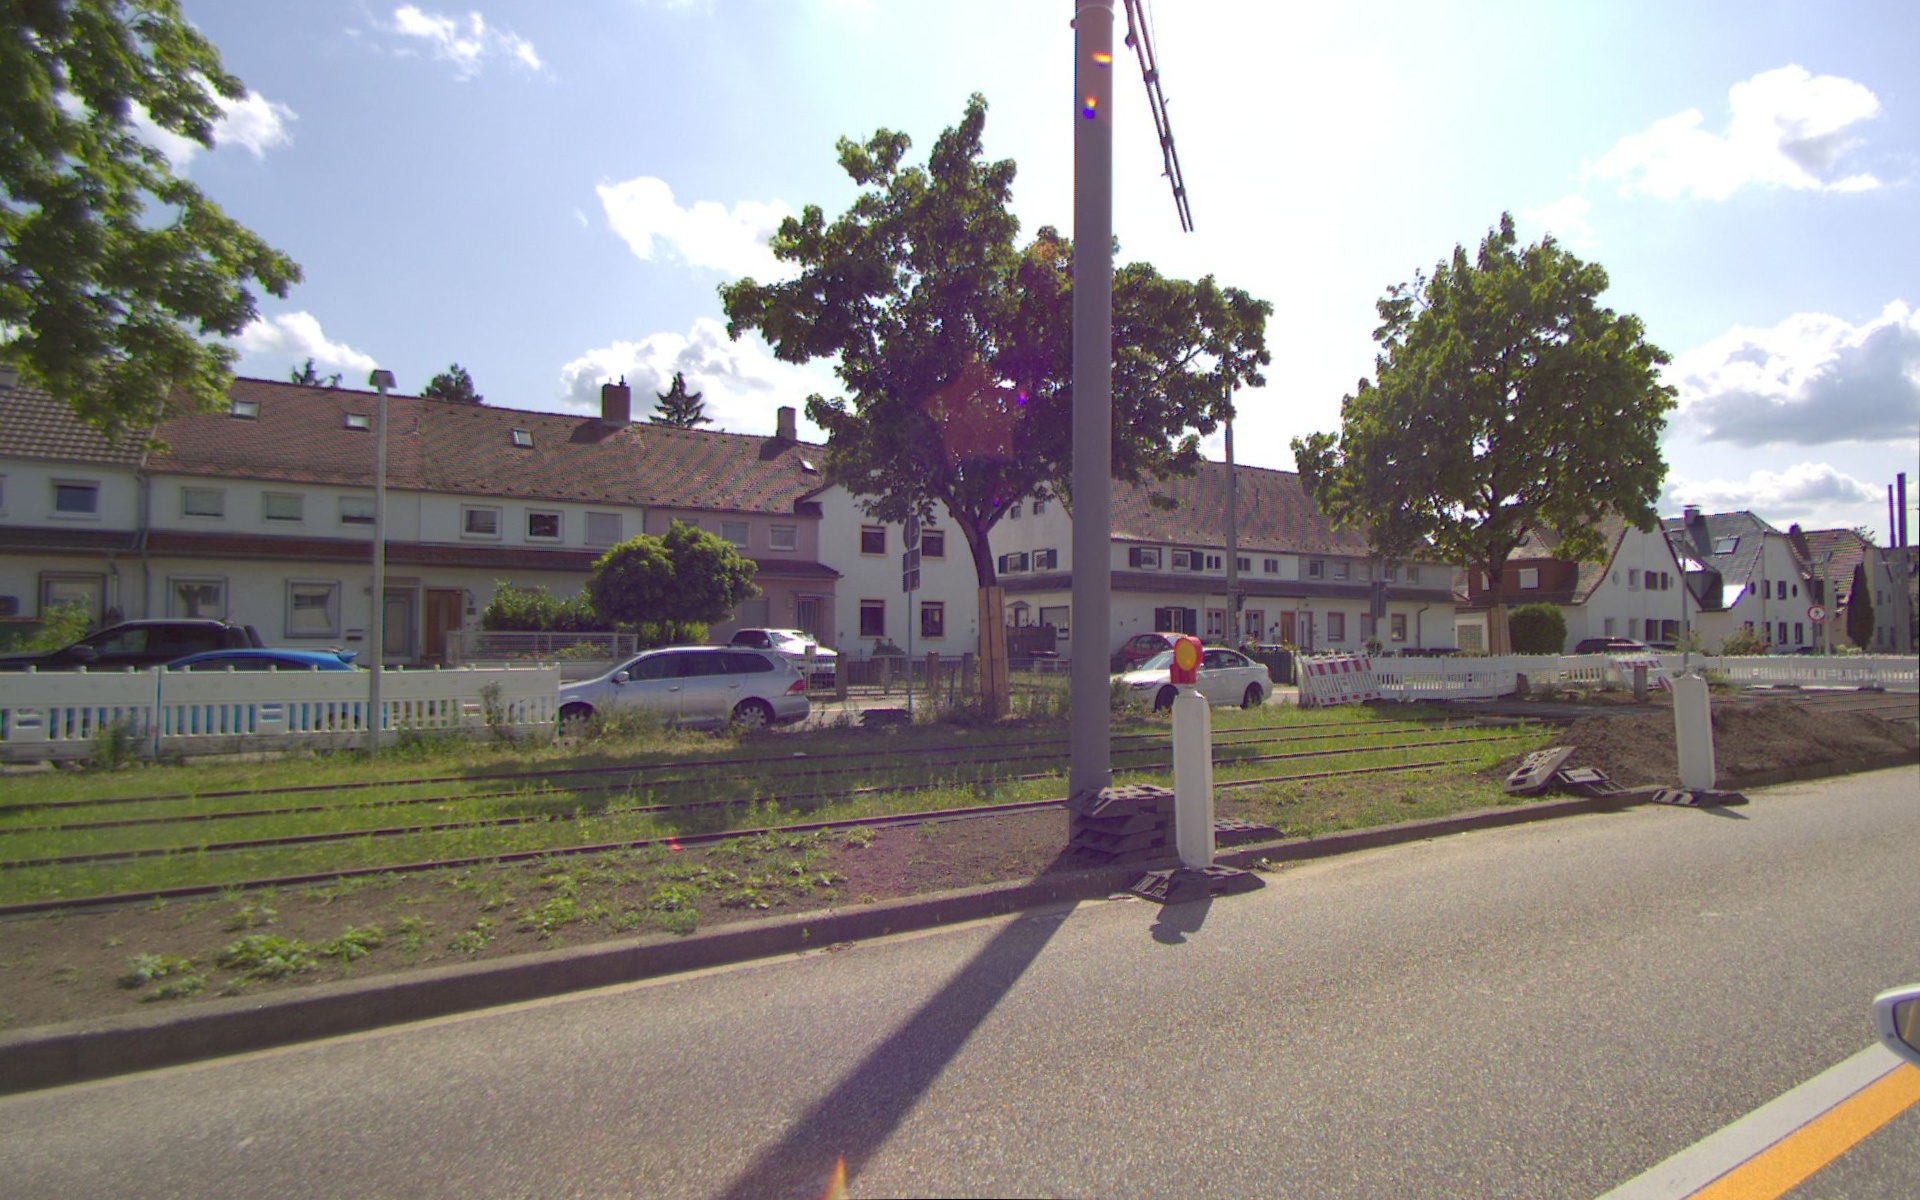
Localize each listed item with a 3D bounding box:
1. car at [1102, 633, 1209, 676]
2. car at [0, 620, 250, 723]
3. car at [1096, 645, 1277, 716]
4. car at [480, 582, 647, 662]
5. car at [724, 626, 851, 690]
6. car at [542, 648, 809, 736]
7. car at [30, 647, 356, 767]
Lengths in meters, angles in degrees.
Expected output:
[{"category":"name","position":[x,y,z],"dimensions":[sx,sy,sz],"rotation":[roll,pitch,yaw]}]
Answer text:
[{"category":"car","position":[7.213,2.002,37.346],"dimensions":[1.706,1.529,3.966],"rotation":[1,-3,-31]},{"category":"car","position":[-13.321,1.099,16.069],"dimensions":[3.058,1.515,1.349],"rotation":[1,-2,-32]},{"category":"car","position":[5.011,1.689,21.971],"dimensions":[4.212,1.394,1.530],"rotation":[2,-3,-37]},{"category":"car","position":[-10.879,0.618,27.582],"dimensions":[3.955,2.040,1.983],"rotation":[2,-1,-32]},{"category":"car","position":[-5.304,1.704,30.468],"dimensions":[1.785,1.708,4.369],"rotation":[2,-1,-40]},{"category":"car","position":[-4.341,1.352,15.465],"dimensions":[3.705,1.192,1.495],"rotation":[1,-3,-31]},{"category":"car","position":[-9.561,1.276,12.808],"dimensions":[3.137,1.342,1.332],"rotation":[2,-3,-34]}]
